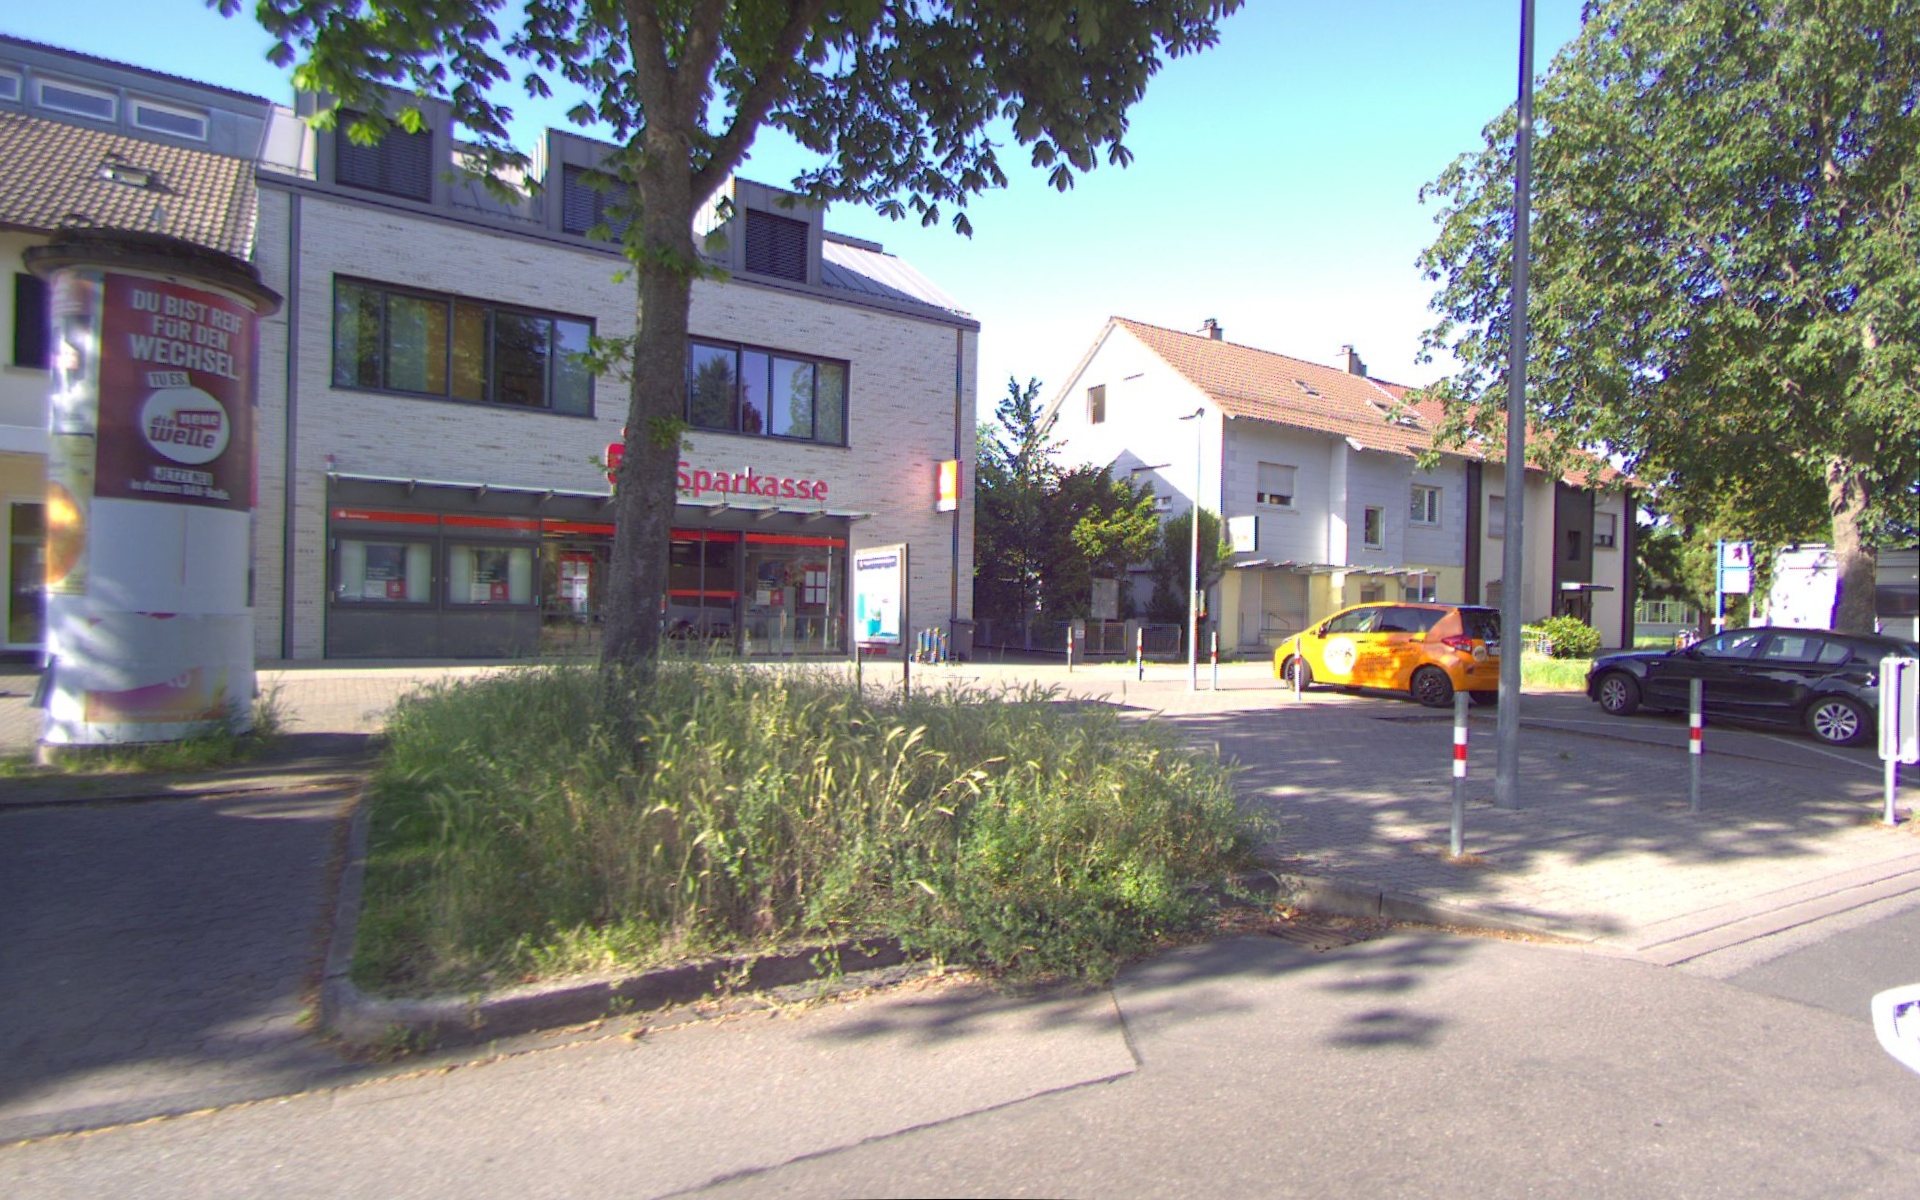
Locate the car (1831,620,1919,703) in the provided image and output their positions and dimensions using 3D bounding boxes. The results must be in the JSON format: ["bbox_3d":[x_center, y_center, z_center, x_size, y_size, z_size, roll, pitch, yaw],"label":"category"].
[{"bbox_3d":[19.457,1.297,19.034,1.977,1.478,3.966,2,3,-30],"label":"car"}]

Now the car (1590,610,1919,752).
[{"bbox_3d":[11.302,1.011,13.996,1.618,1.469,3.973,2,2,-25],"label":"car"}]

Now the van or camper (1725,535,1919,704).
[{"bbox_3d":[17.134,0.369,17.404,1.974,2.843,5.753,2,3,-27],"label":"van or camper"}]

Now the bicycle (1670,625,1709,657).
[{"bbox_3d":[29.039,1.606,39.934,0.696,1.192,4.032,1,0,44],"label":"bicycle"}]

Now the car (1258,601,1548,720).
[{"bbox_3d":[7.137,0.892,16.549,1.851,1.563,3.961,2,1,-34],"label":"car"}]
